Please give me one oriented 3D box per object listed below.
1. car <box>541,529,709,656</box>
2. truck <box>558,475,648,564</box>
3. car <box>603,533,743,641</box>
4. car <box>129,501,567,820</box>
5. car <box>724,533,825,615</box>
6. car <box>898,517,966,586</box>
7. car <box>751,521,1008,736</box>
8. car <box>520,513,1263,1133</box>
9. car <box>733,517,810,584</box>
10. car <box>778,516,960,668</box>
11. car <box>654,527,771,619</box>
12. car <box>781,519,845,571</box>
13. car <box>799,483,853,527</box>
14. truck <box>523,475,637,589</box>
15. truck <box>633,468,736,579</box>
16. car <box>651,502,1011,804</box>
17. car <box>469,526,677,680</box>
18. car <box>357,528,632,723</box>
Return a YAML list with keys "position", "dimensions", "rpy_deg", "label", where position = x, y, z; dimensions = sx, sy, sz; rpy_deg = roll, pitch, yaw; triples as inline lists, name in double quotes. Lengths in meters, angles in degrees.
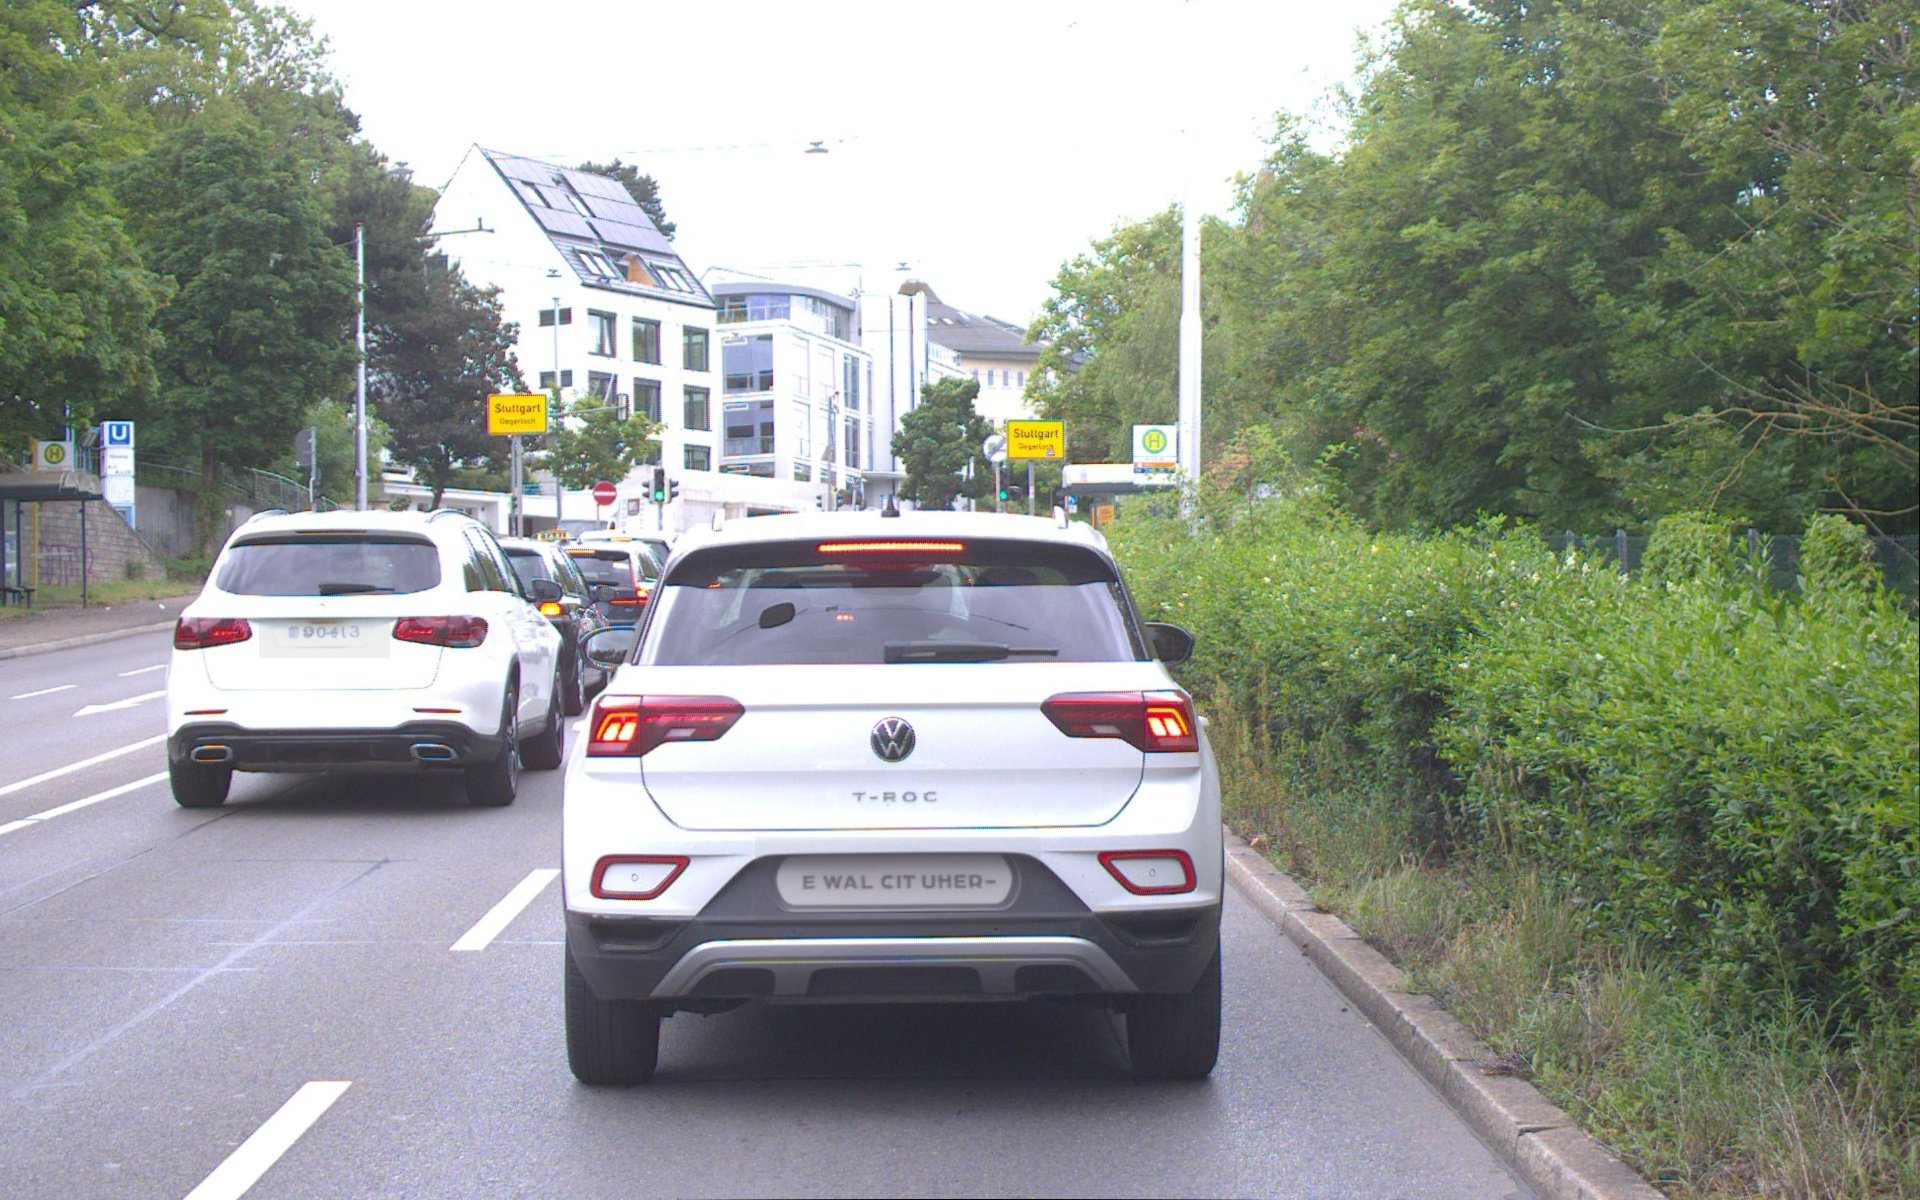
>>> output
- position: [-4.250, -0.130, 44.104]
  dimensions: [1.829, 1.520, 4.000]
  rpy_deg: [-1, 1, -1]
  label: "car"
- position: [-12.806, -2.872, 123.847]
  dimensions: [2.293, 3.040, 6.979]
  rpy_deg: [-2, 1, 1]
  label: "truck"
- position: [-4.253, -0.224, 51.436]
  dimensions: [1.829, 1.520, 4.000]
  rpy_deg: [-1, 1, -1]
  label: "car"
- position: [-3.428, 0.280, 19.973]
  dimensions: [1.918, 1.664, 4.000]
  rpy_deg: [0, 1, -1]
  label: "car"
- position: [-3.613, -0.532, 67.589]
  dimensions: [1.829, 1.520, 4.000]
  rpy_deg: [-1, 1, -1]
  label: "car"
- position: [-0.868, -1.486, 104.817]
  dimensions: [1.993, 2.007, 4.000]
  rpy_deg: [-2, 1, -1]
  label: "car"
- position: [-0.629, 0.165, 26.954]
  dimensions: [1.829, 1.520, 4.000]
  rpy_deg: [-1, 1, -1]
  label: "car"
- position: [-0.214, 0.513, 10.534]
  dimensions: [1.829, 1.520, 4.000]
  rpy_deg: [-1, 1, -1]
  label: "car"
- position: [-4.852, -1.295, 88.818]
  dimensions: [1.815, 1.651, 3.929]
  rpy_deg: [-2, 1, -1]
  label: "car"
- position: [-0.982, -0.125, 37.326]
  dimensions: [1.829, 1.520, 4.000]
  rpy_deg: [-1, 1, -1]
  label: "car"
- position: [-4.335, -0.502, 60.609]
  dimensions: [1.829, 1.520, 4.000]
  rpy_deg: [-1, 1, -1]
  label: "car"
- position: [-4.427, -1.674, 104.165]
  dimensions: [1.829, 1.520, 4.000]
  rpy_deg: [-1, 1, -1]
  label: "car"
- position: [-4.749, -3.365, 122.142]
  dimensions: [1.829, 1.520, 4.000]
  rpy_deg: [-1, 1, -1]
  label: "car"
- position: [-9.454, -1.712, 85.936]
  dimensions: [2.362, 2.697, 4.478]
  rpy_deg: [-2, 1, -1]
  label: "truck"
- position: [-7.212, -2.019, 90.536]
  dimensions: [2.362, 2.772, 4.478]
  rpy_deg: [-2, 1, -1]
  label: "truck"
- position: [-0.712, 0.234, 19.769]
  dimensions: [1.829, 1.520, 4.000]
  rpy_deg: [-1, 1, -1]
  label: "car"
- position: [-4.074, -0.008, 36.755]
  dimensions: [1.829, 1.520, 4.000]
  rpy_deg: [-1, 1, -1]
  label: "car"
- position: [-3.834, 0.160, 28.929]
  dimensions: [1.829, 1.492, 4.000]
  rpy_deg: [-1, 1, -1]
  label: "car"
